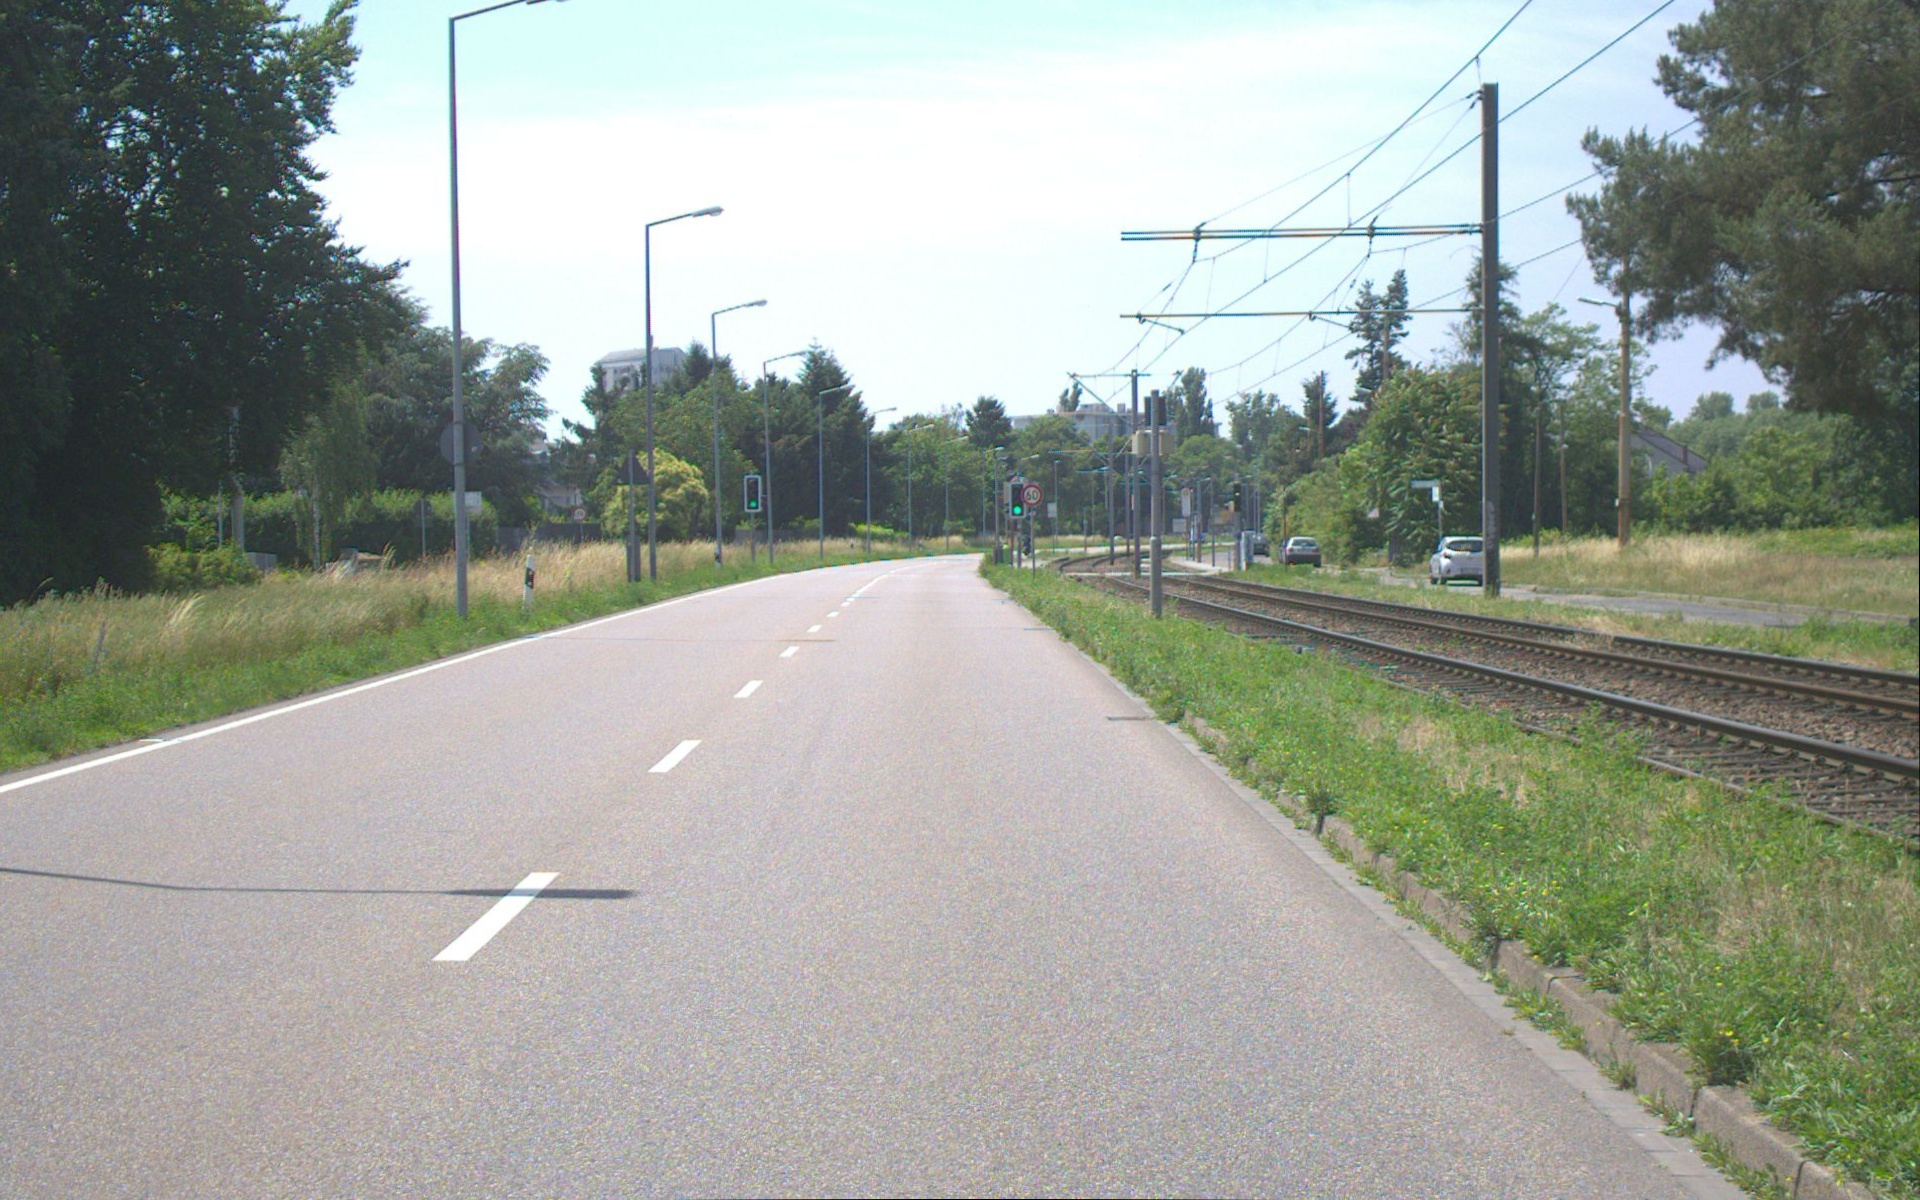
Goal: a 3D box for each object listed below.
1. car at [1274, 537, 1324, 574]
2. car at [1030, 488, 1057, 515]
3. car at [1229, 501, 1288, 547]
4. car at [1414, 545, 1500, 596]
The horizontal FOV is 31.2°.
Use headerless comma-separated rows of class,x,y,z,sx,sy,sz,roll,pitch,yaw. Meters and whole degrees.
car,15.865,-2.091,161.145,1.915,1.656,4.000,-1,0,0
car,5.261,-6.169,215.940,1.551,1.579,3.569,-1,0,0
car,10.701,-2.713,123.517,1.744,1.554,4.000,-1,0,0
car,15.249,-0.905,105.634,1.993,1.503,4.000,-1,0,0
